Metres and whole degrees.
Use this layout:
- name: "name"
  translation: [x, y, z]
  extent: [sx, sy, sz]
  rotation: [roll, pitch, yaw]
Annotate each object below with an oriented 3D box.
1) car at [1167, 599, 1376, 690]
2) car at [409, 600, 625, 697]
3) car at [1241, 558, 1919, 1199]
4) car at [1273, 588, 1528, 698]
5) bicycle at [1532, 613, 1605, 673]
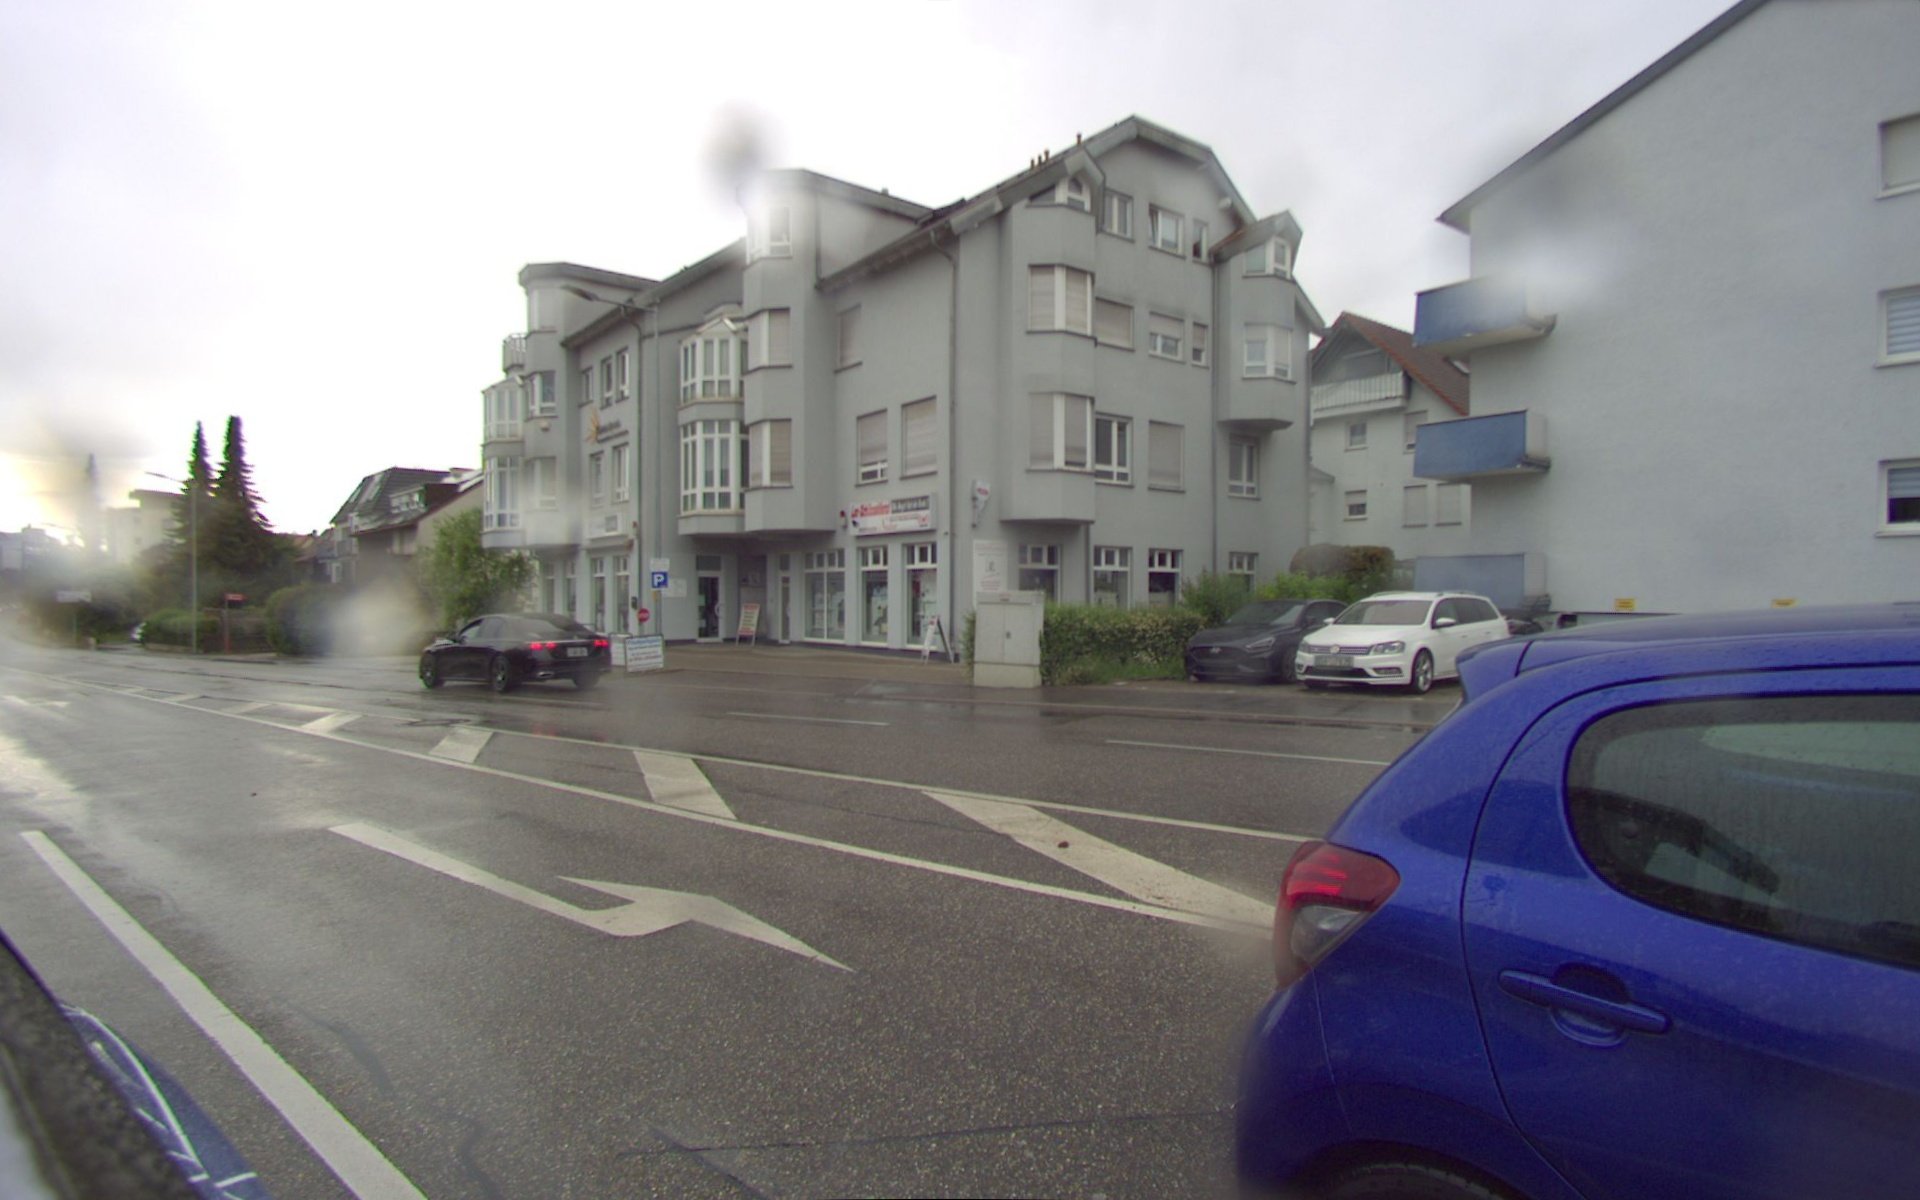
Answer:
- name: "car"
  translation: [5.507, 0.687, 17.656]
  extent: [1.851, 1.366, 3.941]
  rotation: [-1, 0, 45]
- name: "car"
  translation: [-8.616, 0.857, 19.532]
  extent: [4.534, 1.637, 1.974]
  rotation: [-1, 0, 39]
- name: "car"
  translation: [2.249, 0.633, 1.203]
  extent: [3.362, 1.423, 1.489]
  rotation: [-2, -1, 41]
- name: "car"
  translation: [6.996, 0.602, 15.811]
  extent: [4.685, 1.471, 1.883]
  rotation: [0, -2, -42]
- name: "bicycle"
  translation: [11.158, 0.788, 18.567]
  extent: [1.065, 1.061, 0.343]
  rotation: [-2, -1, 41]
